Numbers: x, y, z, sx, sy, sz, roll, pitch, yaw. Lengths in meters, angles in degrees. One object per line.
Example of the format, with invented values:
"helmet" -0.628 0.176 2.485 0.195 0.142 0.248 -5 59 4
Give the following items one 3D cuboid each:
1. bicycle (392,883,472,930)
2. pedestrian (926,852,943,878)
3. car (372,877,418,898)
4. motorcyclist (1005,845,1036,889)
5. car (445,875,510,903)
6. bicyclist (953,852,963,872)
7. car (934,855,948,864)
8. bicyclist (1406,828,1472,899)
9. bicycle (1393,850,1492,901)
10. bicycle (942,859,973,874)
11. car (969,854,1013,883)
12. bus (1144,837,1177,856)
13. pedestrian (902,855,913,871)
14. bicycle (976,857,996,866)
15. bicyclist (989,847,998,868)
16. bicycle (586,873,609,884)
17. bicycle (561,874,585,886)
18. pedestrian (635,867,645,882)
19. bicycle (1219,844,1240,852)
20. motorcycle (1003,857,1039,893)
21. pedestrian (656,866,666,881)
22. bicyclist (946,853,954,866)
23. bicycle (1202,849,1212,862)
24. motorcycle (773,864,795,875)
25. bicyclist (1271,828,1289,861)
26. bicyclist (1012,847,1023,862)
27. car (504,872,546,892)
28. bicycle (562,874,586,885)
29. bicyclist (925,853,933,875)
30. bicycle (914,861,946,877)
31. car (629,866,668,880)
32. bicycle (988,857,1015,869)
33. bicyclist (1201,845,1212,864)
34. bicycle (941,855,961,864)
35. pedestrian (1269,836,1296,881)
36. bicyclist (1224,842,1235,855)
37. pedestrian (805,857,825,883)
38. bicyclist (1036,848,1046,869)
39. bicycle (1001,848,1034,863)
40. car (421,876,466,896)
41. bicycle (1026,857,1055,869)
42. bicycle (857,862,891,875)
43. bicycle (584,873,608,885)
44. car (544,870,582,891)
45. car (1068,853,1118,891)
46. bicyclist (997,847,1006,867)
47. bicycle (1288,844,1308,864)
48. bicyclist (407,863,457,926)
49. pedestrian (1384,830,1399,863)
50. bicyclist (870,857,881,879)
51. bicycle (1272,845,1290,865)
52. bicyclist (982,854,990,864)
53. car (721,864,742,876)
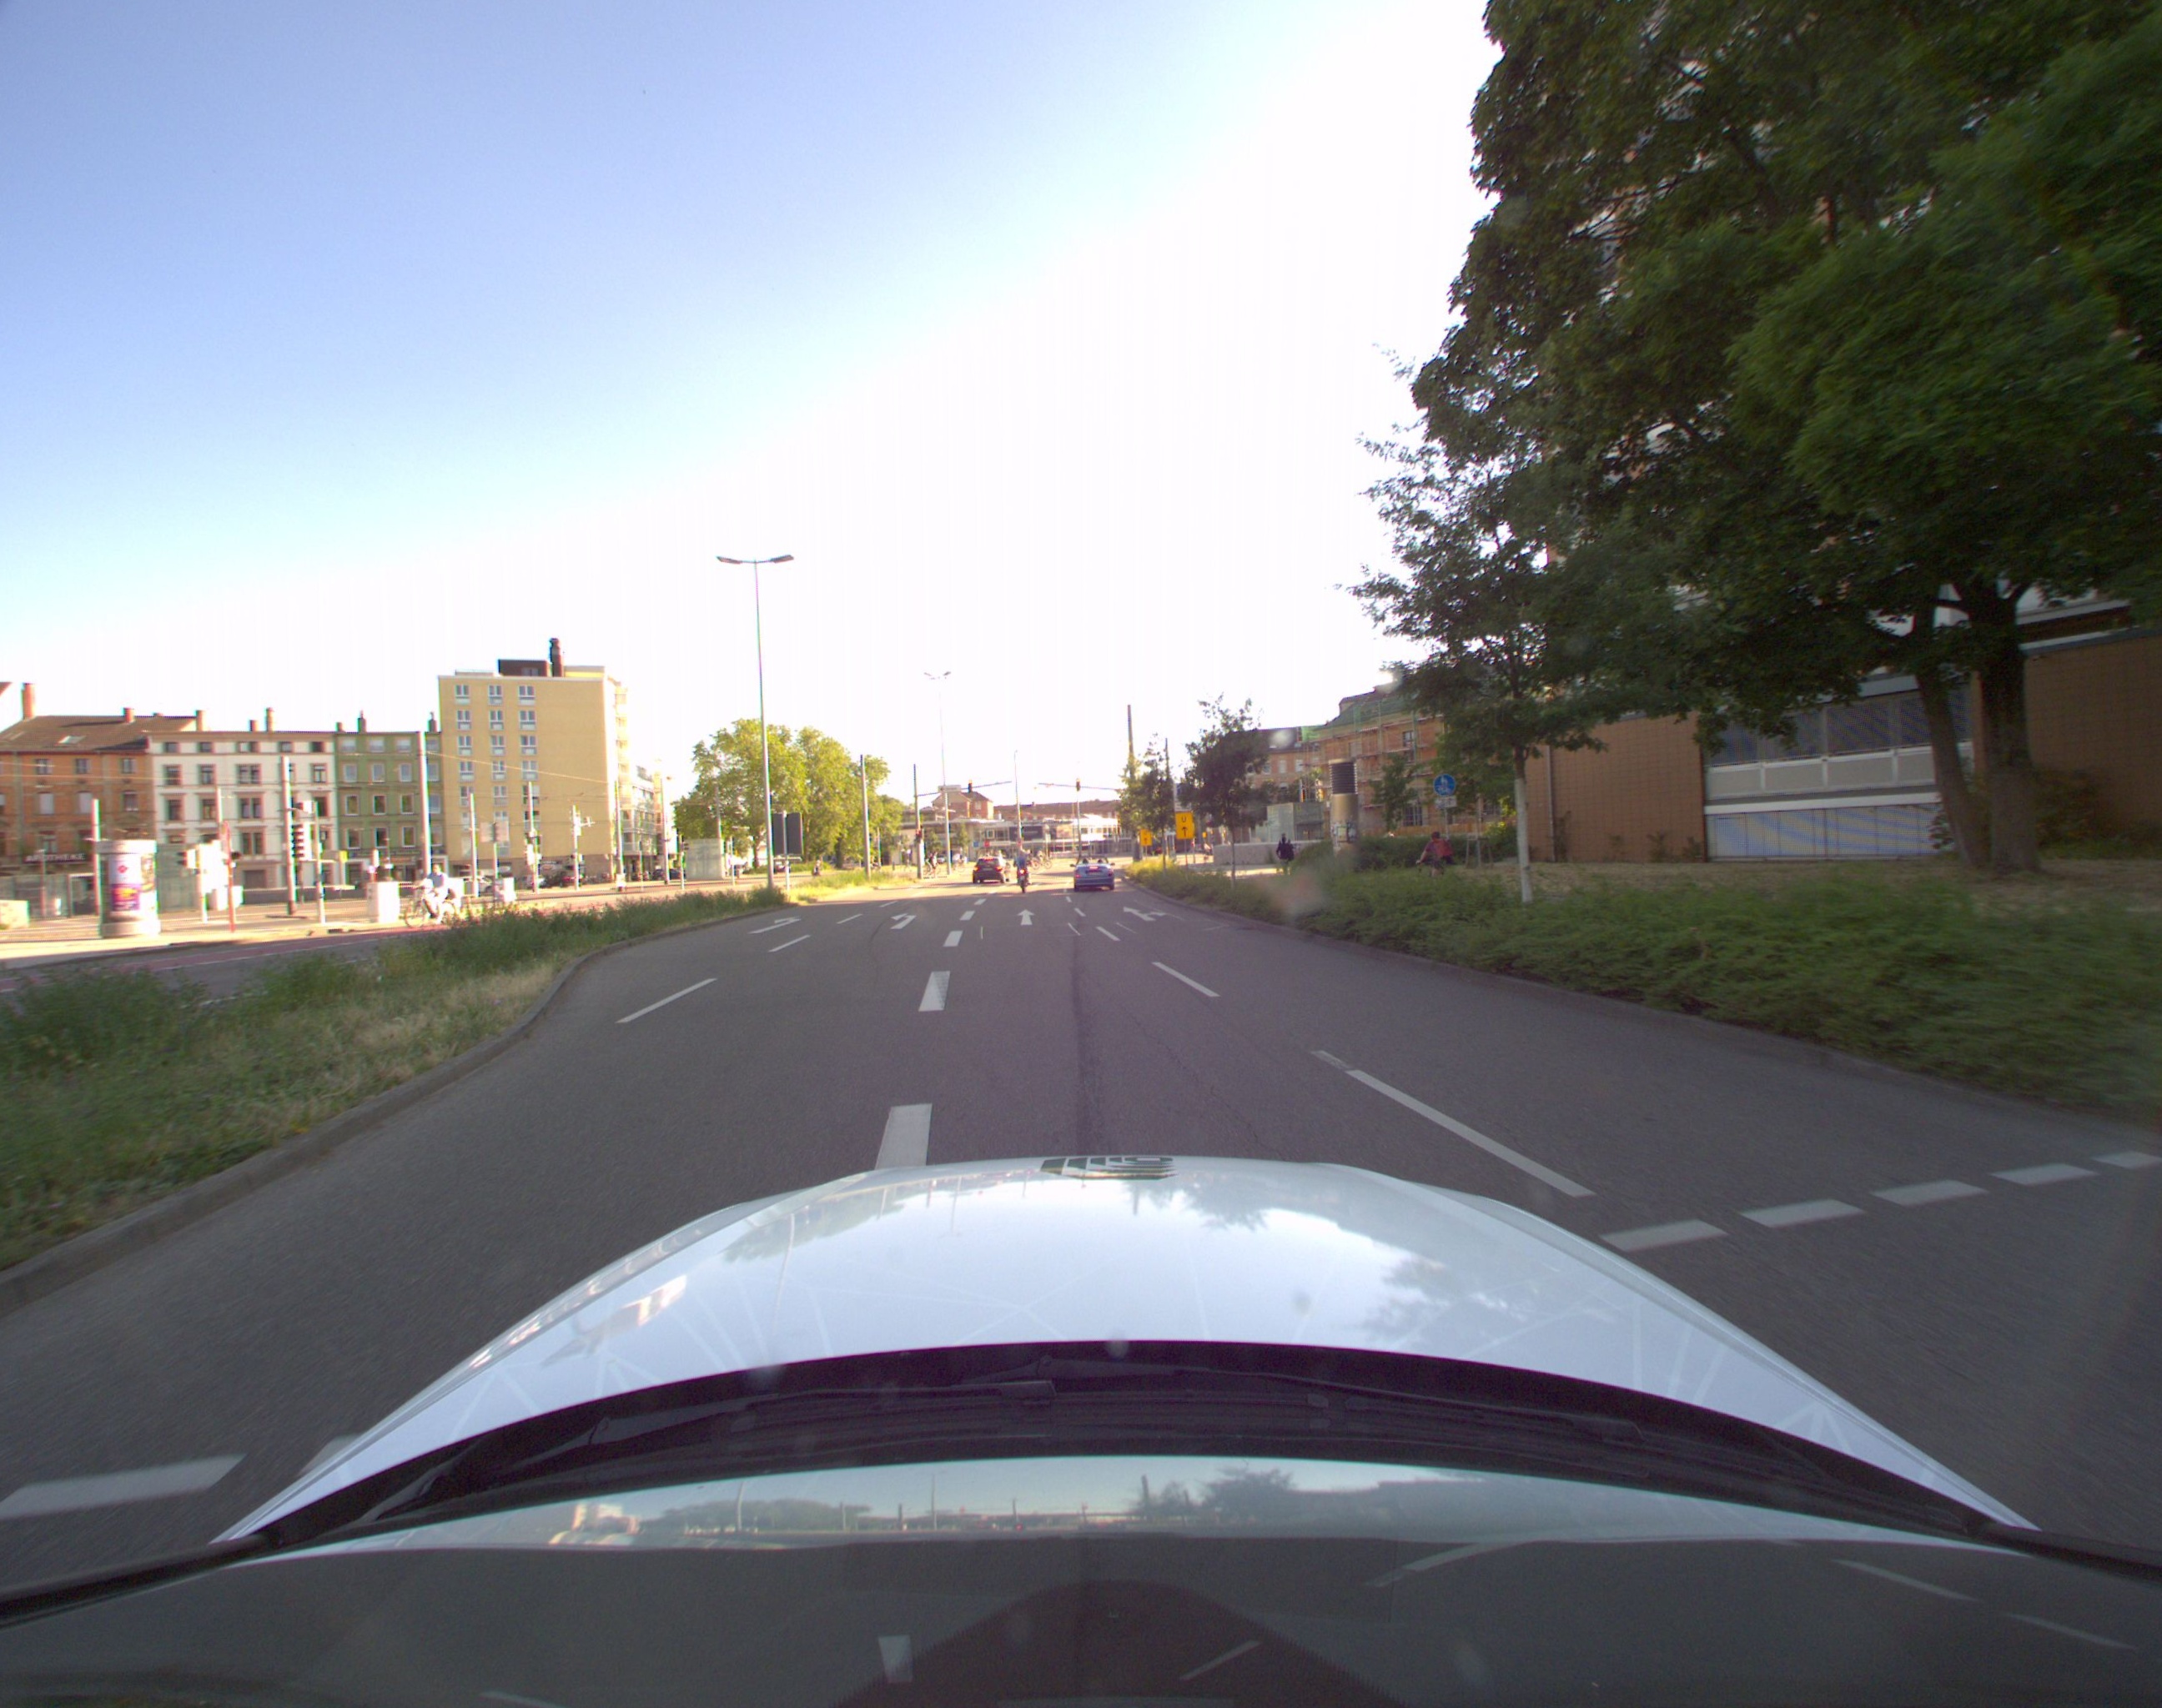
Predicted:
"bicycle" -19.521 1.546 24.564 0.740 1.255 2.547 -2 -1 -11
"pedestrian" -9.747 0.733 54.151 0.833 1.671 0.691 -3 0 -38
"car" -64.765 3.157 76.890 3.958 1.719 2.100 0 2 32
"motorcyclist" -2.423 0.528 32.970 1.091 1.721 0.937 -2 0 2
"car" -50.118 2.912 67.713 3.745 2.013 1.988 -2 2 -18
"bicyclist" -10.521 0.673 69.738 0.651 1.690 0.855 -2 2 -16
"car" -24.785 0.953 144.728 1.990 1.534 3.995 -2 2 -4
"bicyclist" 7.286 0.206 16.620 0.719 1.384 1.072 -1 -1 -9
"bicycle" 7.299 0.436 16.575 0.719 0.952 2.242 -1 -1 -9
"bicycle" -10.587 1.082 69.724 2.499 1.133 0.855 -2 2 -17
"car" -4.859 0.733 44.249 1.794 1.444 3.980 -1 0 2
"bus" 12.858 -1.280 131.538 2.333 2.883 9.632 -3 0 23
"pedestrian" -20.509 1.101 96.120 0.986 1.816 0.920 -2 2 0
"bicycle" -11.381 0.899 97.731 2.302 0.959 0.855 -4 3 -18
"bicyclist" -7.616 0.273 70.606 0.583 1.777 0.863 -2 0 -14
"bicycle" -53.269 2.705 89.690 2.048 1.090 0.772 -3 0 -18
"bicycle" -55.046 2.807 88.207 2.048 1.090 0.772 -3 0 -18
"pedestrian" -50.382 2.364 92.989 0.777 1.676 0.778 -3 0 -16
"bicycle" 18.695 -0.750 102.613 2.442 1.003 0.958 -3 0 -14
"motorcycle" -2.403 0.827 33.000 1.091 1.377 2.655 -2 0 3
"pedestrian" -48.269 2.281 93.557 0.777 1.676 0.778 -3 0 -16
"bicyclist" -15.996 0.680 99.574 0.924 1.559 0.856 -2 2 -13
"bicycle" 10.933 0.134 70.571 0.784 1.039 1.968 -4 -1 10
"motorcycle" -34.475 1.798 94.657 2.286 1.054 0.685 -2 2 -12
"bicyclist" 11.240 -0.525 46.006 0.782 1.786 0.896 -4 -1 9
"bicyclist" -8.003 0.048 102.494 1.073 1.900 1.116 -2 2 -17
"car" -54.482 2.752 79.812 3.949 1.748 1.851 -1 2 30
"bicycle" -55.387 2.753 89.008 2.048 1.090 0.772 -3 0 -18
"bicyclist" -12.496 0.825 66.971 0.649 1.690 0.857 -2 2 -10
"bicycle" -12.427 1.228 66.997 2.493 1.133 0.857 -2 2 -10
"car" -54.248 2.378 102.245 4.002 1.422 1.800 -3 0 -21
"bicycle" -6.907 0.800 70.761 2.299 0.905 0.856 -2 2 -14
"bicyclist" 10.888 0.041 70.512 0.784 1.593 0.950 -4 -1 9
"bicycle" -15.888 0.712 99.590 2.298 0.979 0.857 -2 2 -12
"pedestrian" 7.671 0.154 31.002 0.803 1.658 0.790 -3 0 2
"bicyclist" 18.694 -0.728 102.620 0.925 1.559 0.958 -3 0 -14
"pedestrian" -17.666 1.063 54.023 1.092 1.606 0.697 -2 2 -9
"bicyclist" -3.326 0.365 68.380 0.650 1.690 0.856 -2 2 -14
"bicycle" -8.019 0.150 102.464 3.997 1.689 1.133 -2 2 -17
"car" -61.025 3.016 77.919 3.958 1.719 2.100 0 2 32
"bicycle" -3.432 0.773 68.364 2.299 0.905 0.856 -2 2 -14
"bicycle" -16.305 1.119 64.060 2.501 0.874 0.854 -2 2 -20
"bicycle" -52.971 2.724 88.901 2.048 1.090 0.772 -3 0 -18
"car" -51.588 2.619 81.052 3.948 1.857 1.865 0 2 37
"car" 0.554 0.706 34.082 1.792 1.444 3.984 -1 0 5
"bicyclist" -6.934 0.214 70.741 0.650 1.690 0.856 -2 2 -14
"bicycle" 12.287 -0.014 46.136 0.620 1.039 1.975 -5 -1 27
"bicyclist" -19.520 1.208 24.514 0.740 1.832 1.010 -2 -1 -11
"pedestrian" 15.912 -0.399 41.727 0.717 1.658 0.722 0 0 20
"bicyclist" -16.187 1.119 64.100 0.747 1.690 0.854 -2 2 -20
"bicycle" 11.296 0.071 46.047 0.784 1.039 1.968 -4 -1 10
"bicyclist" -11.376 0.573 97.734 0.714 1.142 0.832 -2 2 -18
"car" -45.778 2.136 106.671 1.850 1.452 3.980 -2 0 -14
